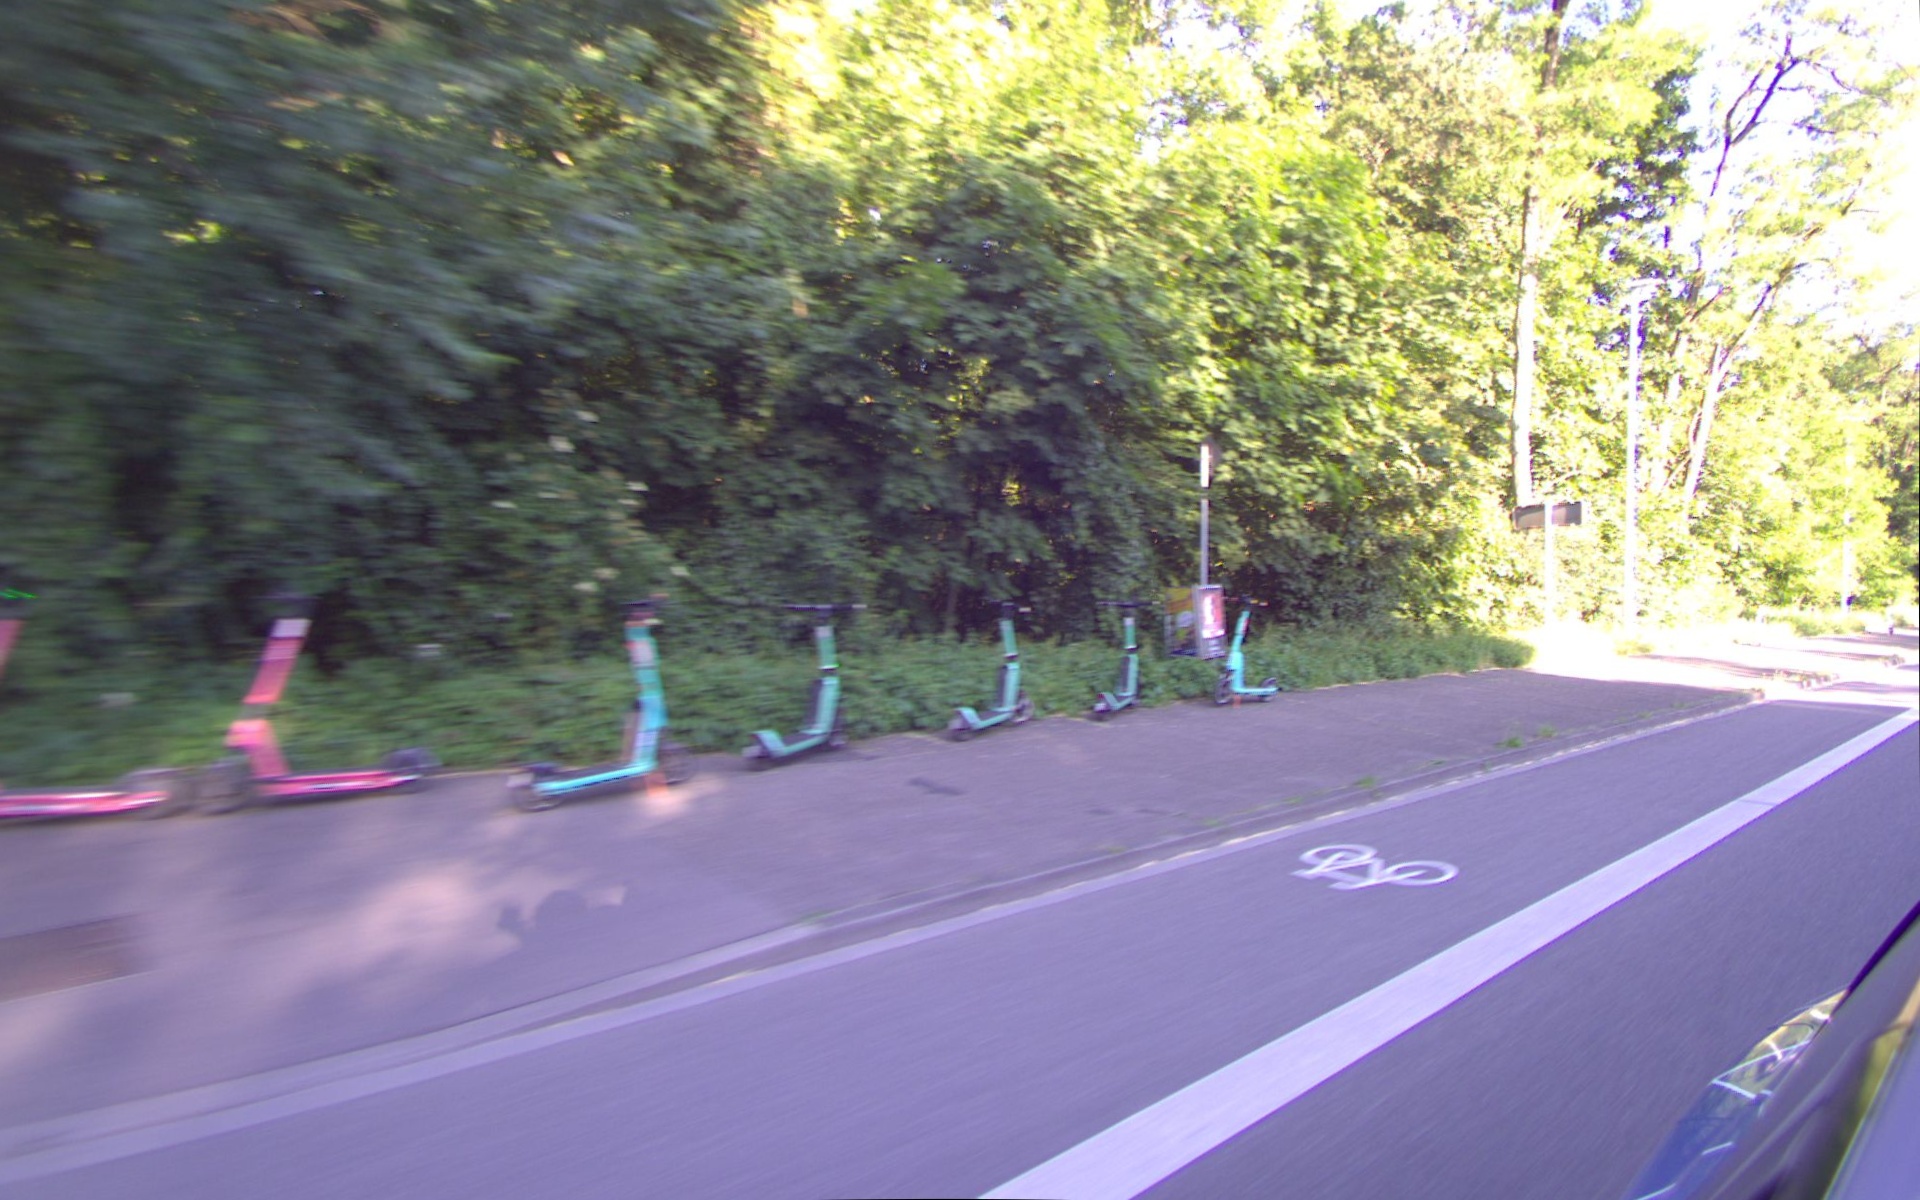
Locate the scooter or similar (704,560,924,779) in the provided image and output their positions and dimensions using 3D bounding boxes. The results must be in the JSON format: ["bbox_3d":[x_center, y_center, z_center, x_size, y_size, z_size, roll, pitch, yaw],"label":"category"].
[{"bbox_3d":[-1.036,0.442,7.566,0.679,1.441,1.661,2,2,34],"label":"scooter or similar"}]

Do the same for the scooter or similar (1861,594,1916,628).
[{"bbox_3d":[36.020,0.421,39.271,1.515,1.265,0.534,2,1,7],"label":"scooter or similar"}]

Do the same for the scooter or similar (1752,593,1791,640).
[{"bbox_3d":[22.523,0.445,28.076,1.514,1.265,0.534,0,2,-41],"label":"scooter or similar"}]

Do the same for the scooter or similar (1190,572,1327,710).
[{"bbox_3d":[3.405,0.426,11.480,1.652,1.441,0.683,0,2,-41],"label":"scooter or similar"}]

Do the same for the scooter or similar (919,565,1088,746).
[{"bbox_3d":[0.427,0.429,8.990,0.680,1.441,1.660,2,2,36],"label":"scooter or similar"}]

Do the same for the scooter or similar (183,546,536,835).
[{"bbox_3d":[-3.410,0.435,5.827,1.652,1.441,0.683,0,2,-41],"label":"scooter or similar"}]

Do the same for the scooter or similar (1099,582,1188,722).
[{"bbox_3d":[1.914,0.484,10.426,0.463,1.322,1.467,2,2,27],"label":"scooter or similar"}]

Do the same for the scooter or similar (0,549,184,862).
[{"bbox_3d":[-4.601,0.473,4.936,1.221,1.441,0.685,0,2,-32],"label":"scooter or similar"}]

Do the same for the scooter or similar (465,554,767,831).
[{"bbox_3d":[-2.025,0.464,6.172,0.679,1.441,1.661,2,2,34],"label":"scooter or similar"}]
